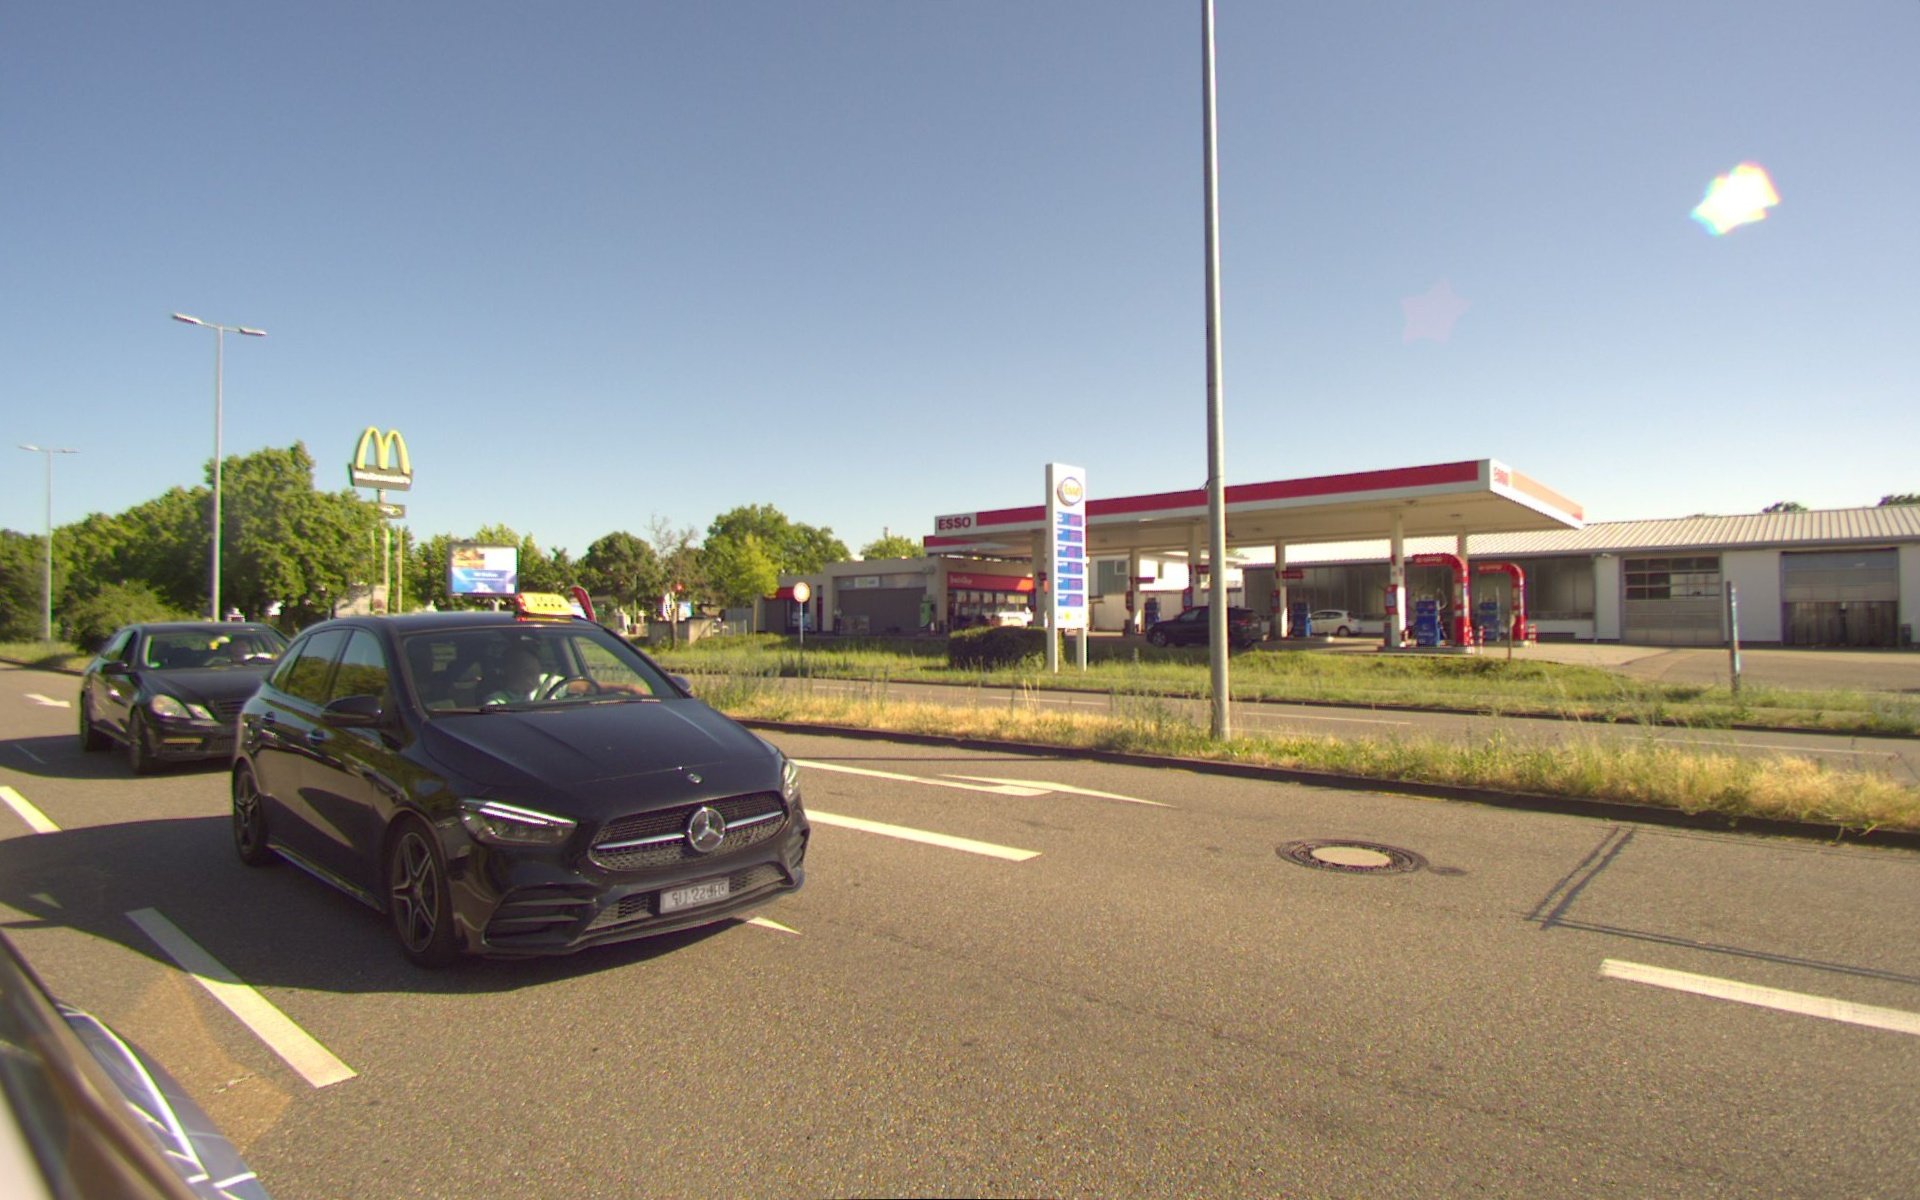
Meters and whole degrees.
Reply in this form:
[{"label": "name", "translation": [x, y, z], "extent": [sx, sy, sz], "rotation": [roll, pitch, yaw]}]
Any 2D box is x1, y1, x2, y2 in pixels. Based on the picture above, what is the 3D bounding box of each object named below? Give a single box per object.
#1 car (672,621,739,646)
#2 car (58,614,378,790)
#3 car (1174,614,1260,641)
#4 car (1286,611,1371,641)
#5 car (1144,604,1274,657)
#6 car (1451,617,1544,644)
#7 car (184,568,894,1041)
[{"label": "car", "translation": [-15.256, 2.005, 60.593], "extent": [3.998, 1.416, 1.973], "rotation": [-1, -2, 41]}, {"label": "car", "translation": [-8.313, 0.934, 11.180], "extent": [4.461, 1.521, 1.928], "rotation": [-1, 0, 41]}, {"label": "car", "translation": [15.133, 1.606, 59.784], "extent": [4.540, 1.477, 1.973], "rotation": [-1, 0, 41]}, {"label": "car", "translation": [19.974, 1.382, 54.932], "extent": [3.855, 1.500, 1.973], "rotation": [-1, 0, 41]}, {"label": "car", "translation": [9.202, 1.112, 37.609], "extent": [4.322, 1.739, 1.783], "rotation": [-1, 2, 43]}, {"label": "car", "translation": [26.216, 1.466, 49.431], "extent": [3.729, 1.196, 1.658], "rotation": [-1, 0, 41]}, {"label": "car", "translation": [-2.629, 0.746, 5.628], "extent": [4.579, 1.614, 1.765], "rotation": [-2, -1, 40]}]
